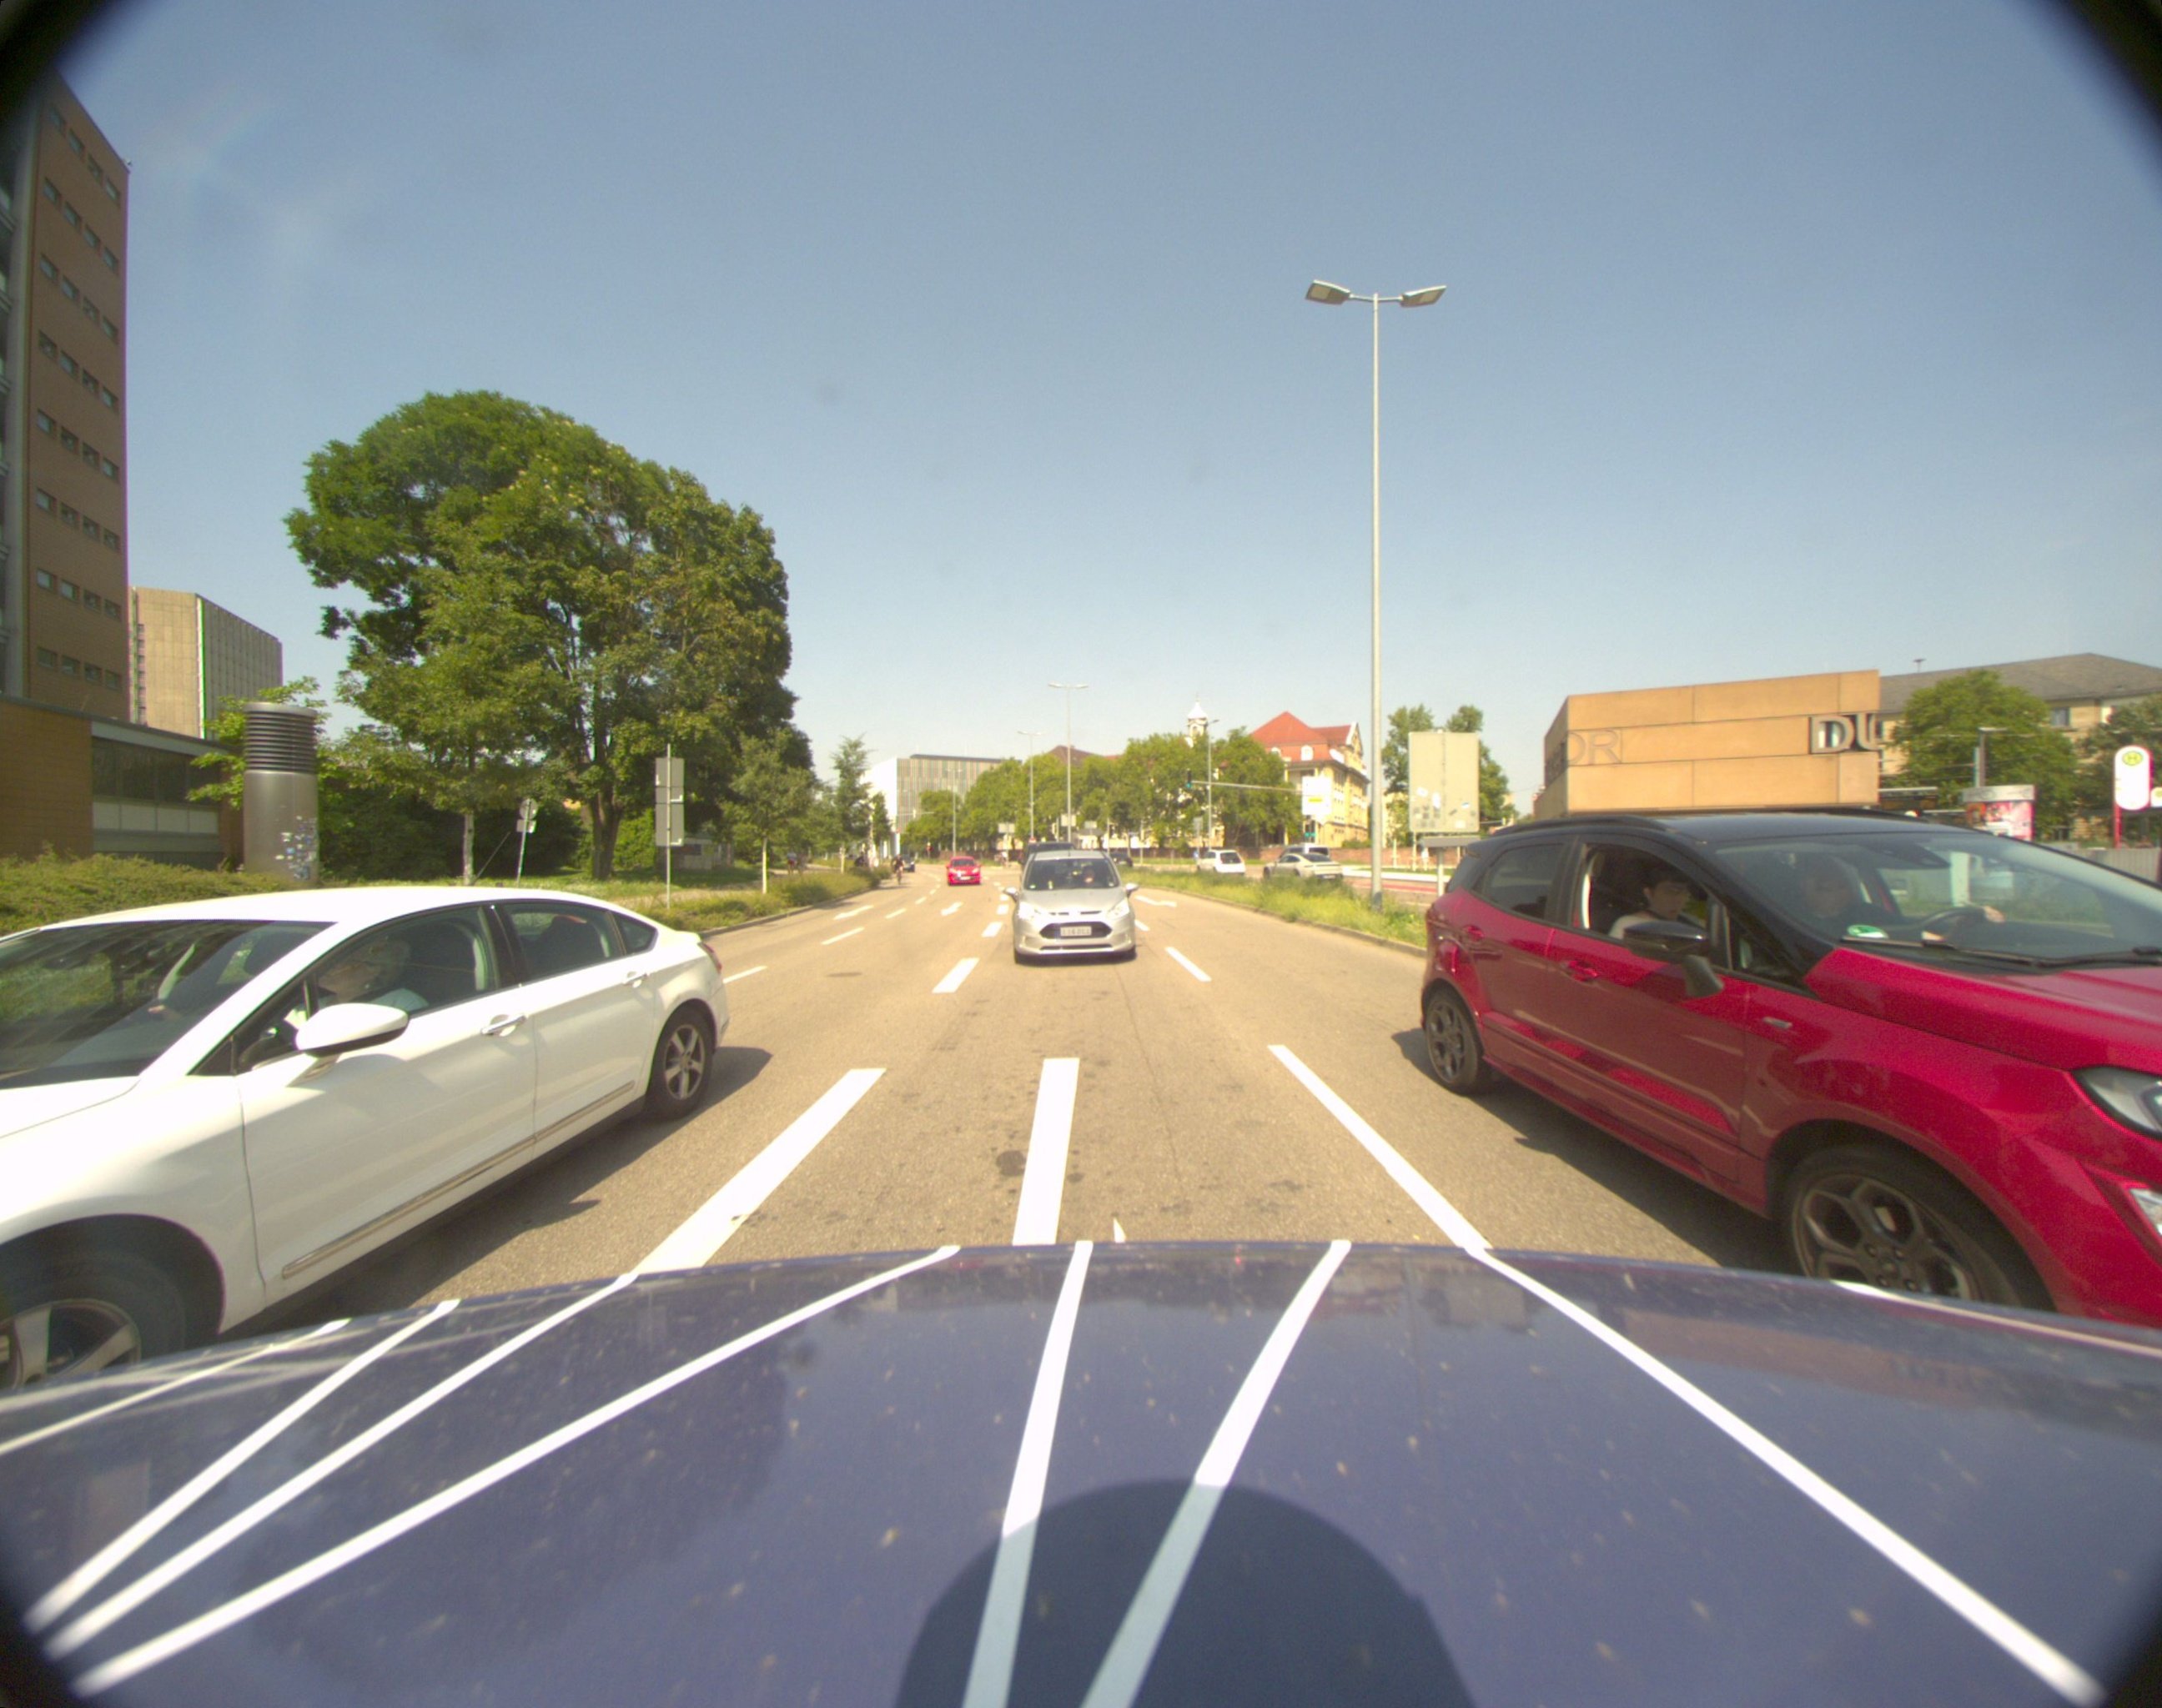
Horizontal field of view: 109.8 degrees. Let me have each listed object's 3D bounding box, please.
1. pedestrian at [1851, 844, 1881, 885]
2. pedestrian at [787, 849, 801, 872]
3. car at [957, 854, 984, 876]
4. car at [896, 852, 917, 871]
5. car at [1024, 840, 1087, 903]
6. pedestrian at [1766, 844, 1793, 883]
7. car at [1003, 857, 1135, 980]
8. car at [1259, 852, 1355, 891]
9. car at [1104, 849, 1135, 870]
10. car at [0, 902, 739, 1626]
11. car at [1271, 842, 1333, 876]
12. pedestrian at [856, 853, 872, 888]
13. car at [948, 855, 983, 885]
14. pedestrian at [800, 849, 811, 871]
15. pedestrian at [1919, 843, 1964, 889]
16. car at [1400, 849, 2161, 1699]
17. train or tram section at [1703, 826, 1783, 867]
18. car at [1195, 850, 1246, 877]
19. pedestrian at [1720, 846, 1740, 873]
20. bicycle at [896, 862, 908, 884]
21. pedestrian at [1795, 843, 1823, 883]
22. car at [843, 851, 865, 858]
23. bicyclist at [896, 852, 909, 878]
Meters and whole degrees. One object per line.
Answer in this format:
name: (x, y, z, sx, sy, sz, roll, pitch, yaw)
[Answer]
pedestrian: (28.732, 0.368, 27.820, 0.539, 1.488, 0.541, 0, 1, -1)
pedestrian: (-16.867, 0.373, 44.649, 0.635, 1.291, 0.486, -3, 1, -17)
car: (-7.308, 0.699, 50.081, 1.566, 1.387, 3.246, -1, 0, -12)
car: (-16.077, 0.692, 70.133, 1.812, 1.652, 3.996, 0, 0, -11)
car: (-0.846, 0.526, 25.888, 1.890, 1.908, 4.532, -2, 0, -2)
pedestrian: (26.689, 0.349, 29.035, 0.539, 1.488, 0.541, 0, 1, -1)
car: (-0.131, 0.852, 12.156, 1.658, 1.521, 4.533, -2, 0, 1)
car: (9.759, 0.706, 33.306, 2.001, 1.576, 4.710, 0, 0, -12)
car: (2.670, 0.341, 53.586, 1.526, 1.417, 3.474, 0, 0, -9)
car: (-3.291, 1.044, 2.806, 1.773, 1.420, 4.610, 0, 0, 3)
car: (12.627, 0.254, 43.620, 1.869, 1.843, 3.912, 0, 1, -10)
pedestrian: (-11.916, 0.908, 41.754, 0.823, 1.892, 0.630, -1, 1, -12)
car: (-6.005, 0.809, 39.774, 1.651, 1.422, 3.813, -2, 0, -7)
pedestrian: (-16.263, 0.339, 44.847, 0.577, 1.291, 0.437, -3, 1, -18)
pedestrian: (27.980, 0.377, 24.704, 0.771, 1.488, 0.606, 0, 1, -1)
car: (2.910, 0.799, 2.988, 1.694, 1.577, 3.845, -2, 0, 1)
train or tram section: (60.546, -0.616, 69.900, 2.698, 3.419, 13.446, 0, 0, 28)
car: (7.871, 0.517, 43.036, 1.527, 1.470, 3.473, 0, 0, -14)
pedestrian: (26.666, 0.207, 31.224, 0.538, 1.093, 0.543, 0, 1, 32)
bicycle: (-9.883, 1.032, 42.003, 0.595, 1.162, 2.233, -1, 0, -12)
pedestrian: (27.780, 0.333, 28.993, 0.539, 1.488, 0.541, 0, 1, -1)
car: (-51.358, 0.169, 171.858, 4.429, 1.380, 1.767, -2, 0, -37)
bicyclist: (-9.901, 0.591, 42.061, 0.680, 1.392, 1.048, -1, 1, -13)
